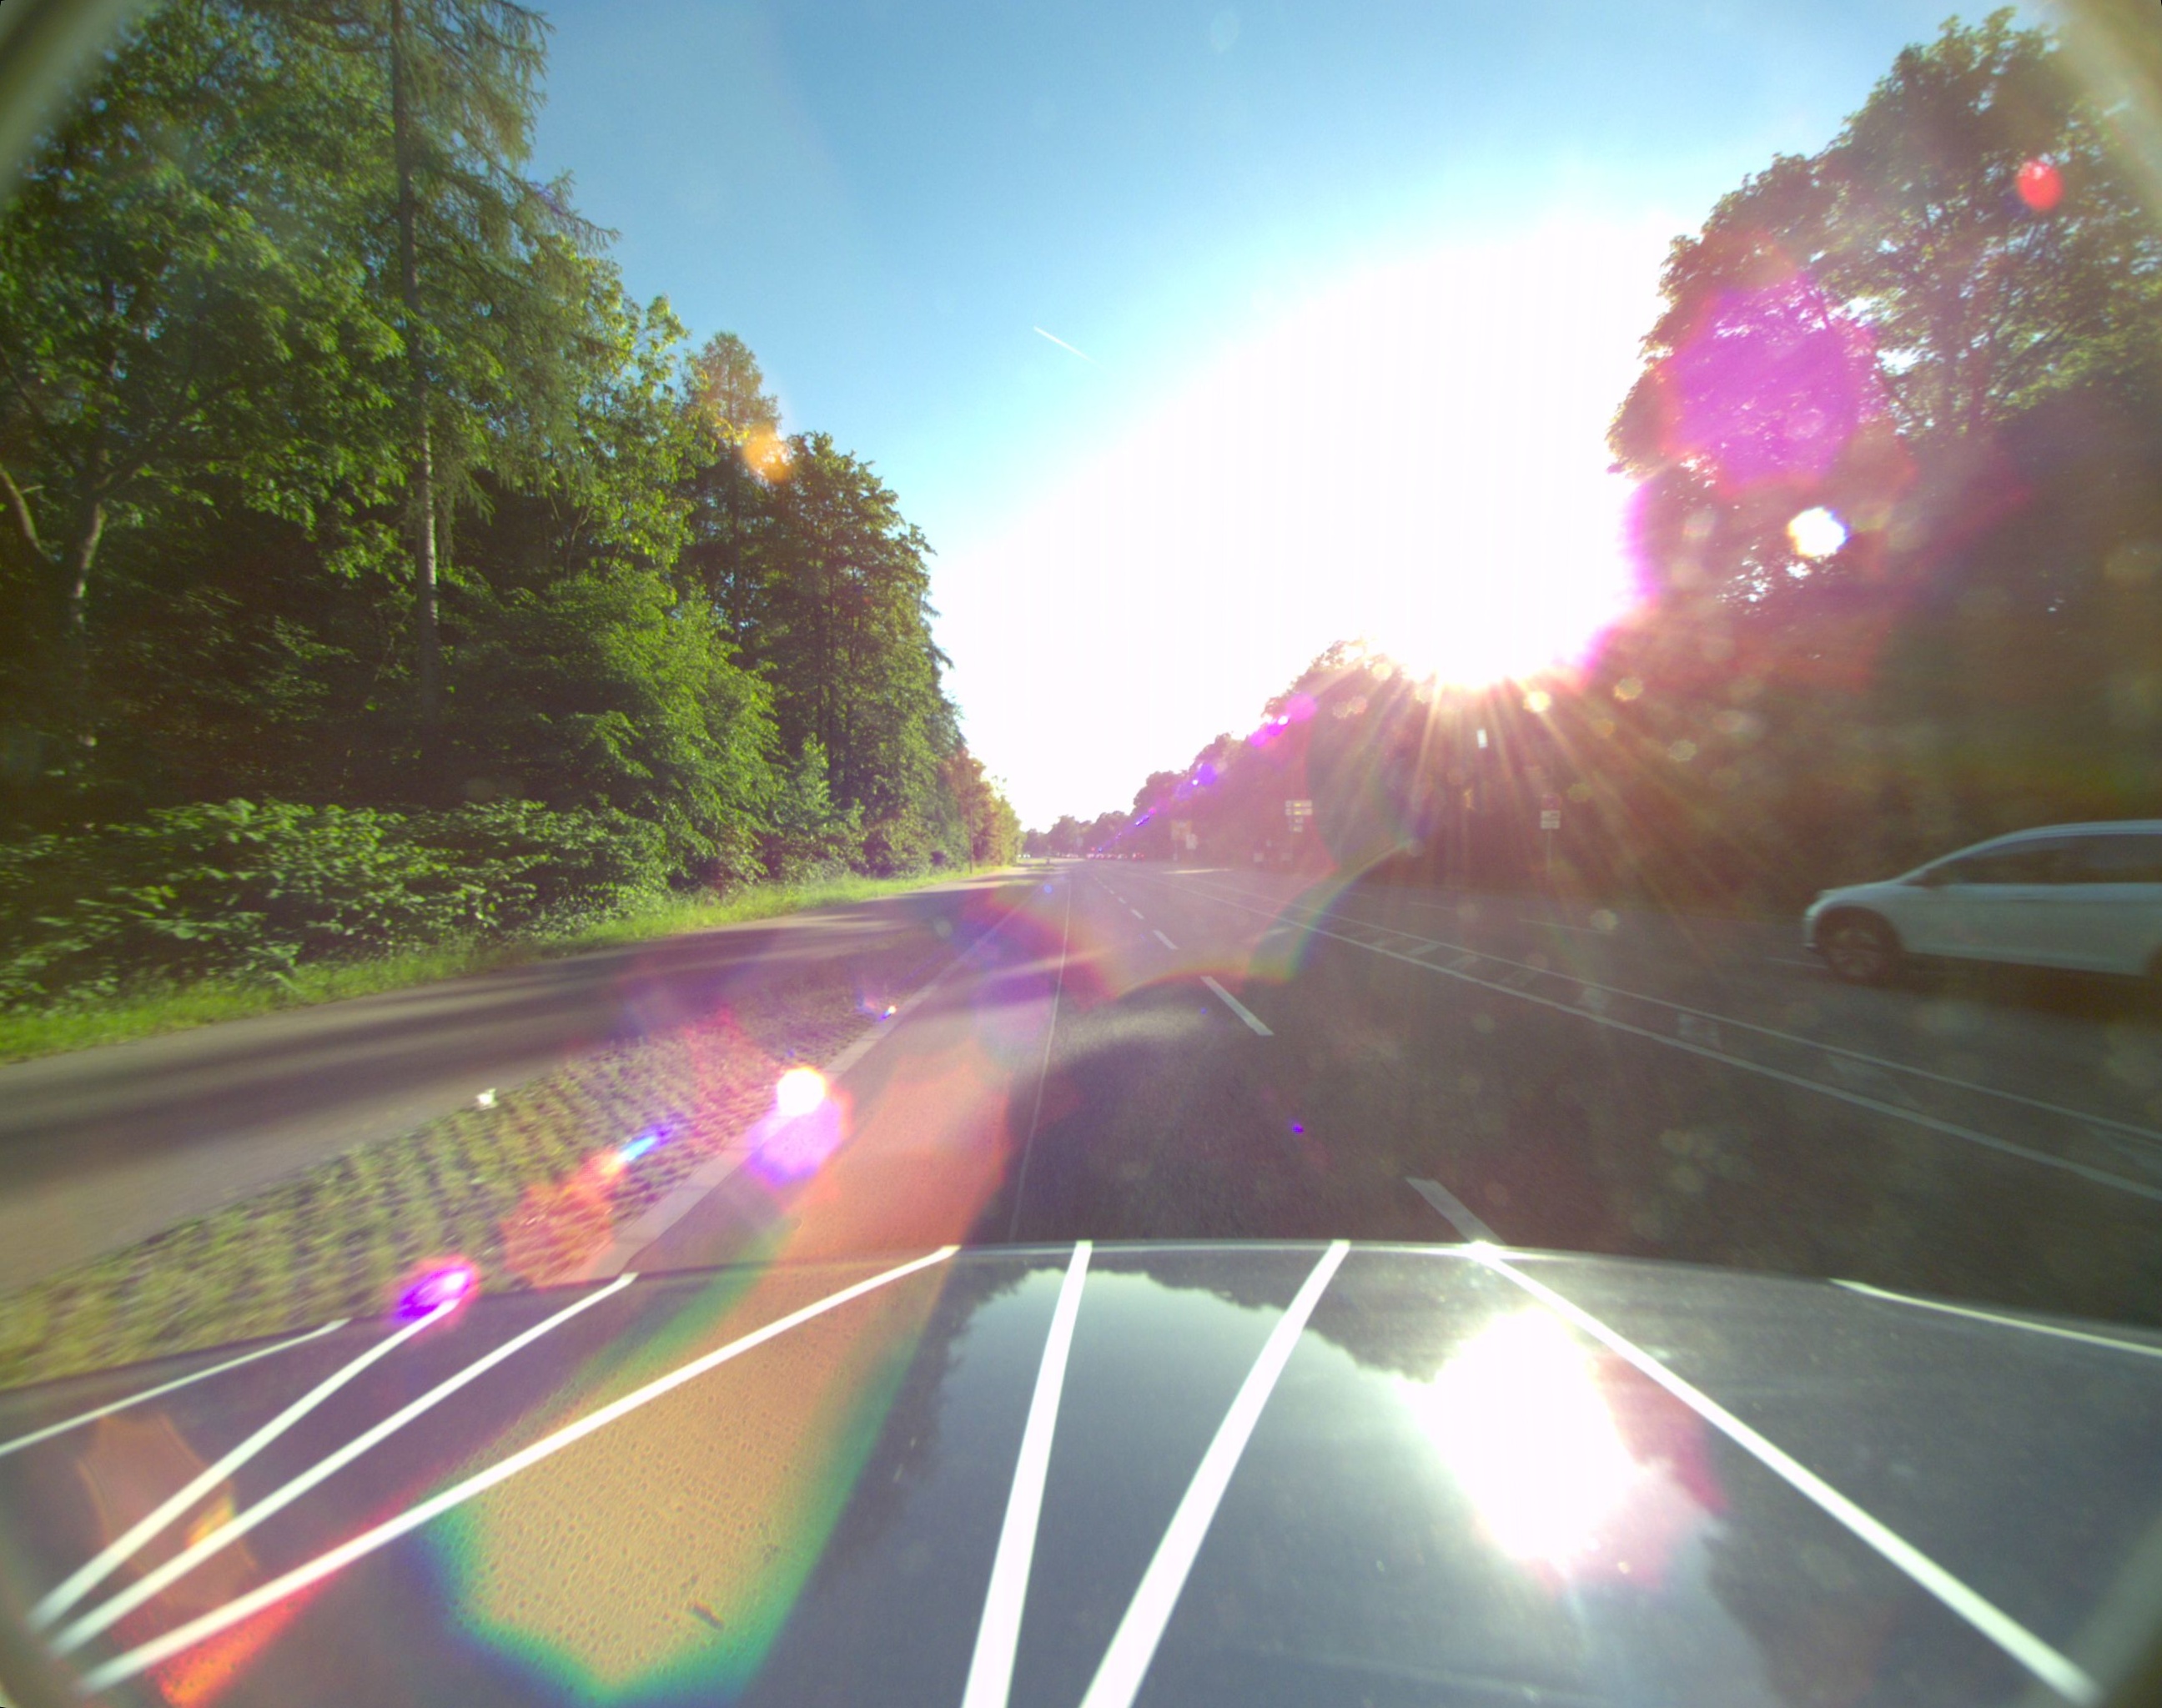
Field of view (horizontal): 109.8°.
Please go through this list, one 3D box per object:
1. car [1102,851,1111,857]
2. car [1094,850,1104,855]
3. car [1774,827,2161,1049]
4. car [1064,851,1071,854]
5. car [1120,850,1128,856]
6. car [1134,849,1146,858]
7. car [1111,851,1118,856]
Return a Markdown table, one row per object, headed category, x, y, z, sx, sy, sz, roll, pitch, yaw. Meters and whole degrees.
| category | x | y | z | sx | sy | sz | roll | pitch | yaw |
| --- | --- | --- | --- | --- | --- | --- | --- | --- | --- |
| car | 7.112 | 0.073 | 213.957 | 2.000 | 1.555 | 4.335 | 0 | 0 | -6 |
| car | 5.208 | -0.486 | 222.015 | 2.000 | 1.627 | 4.840 | 0 | 0 | -8 |
| car | 8.987 | 0.607 | 6.433 | 1.913 | 1.654 | 4.733 | -1 | 0 | 0 |
| car | -4.431 | -0.489 | 247.871 | 1.749 | 1.227 | 4.670 | 0 | 0 | -6 |
| car | 10.398 | -0.191 | 184.263 | 1.829 | 1.495 | 4.305 | -1 | 0 | -1 |
| car | 10.936 | -0.111 | 140.400 | 1.829 | 1.580 | 4.350 | -1 | 0 | -1 |
| car | 9.001 | -0.141 | 202.811 | 1.829 | 1.536 | 4.256 | -1 | 0 | 1 |
